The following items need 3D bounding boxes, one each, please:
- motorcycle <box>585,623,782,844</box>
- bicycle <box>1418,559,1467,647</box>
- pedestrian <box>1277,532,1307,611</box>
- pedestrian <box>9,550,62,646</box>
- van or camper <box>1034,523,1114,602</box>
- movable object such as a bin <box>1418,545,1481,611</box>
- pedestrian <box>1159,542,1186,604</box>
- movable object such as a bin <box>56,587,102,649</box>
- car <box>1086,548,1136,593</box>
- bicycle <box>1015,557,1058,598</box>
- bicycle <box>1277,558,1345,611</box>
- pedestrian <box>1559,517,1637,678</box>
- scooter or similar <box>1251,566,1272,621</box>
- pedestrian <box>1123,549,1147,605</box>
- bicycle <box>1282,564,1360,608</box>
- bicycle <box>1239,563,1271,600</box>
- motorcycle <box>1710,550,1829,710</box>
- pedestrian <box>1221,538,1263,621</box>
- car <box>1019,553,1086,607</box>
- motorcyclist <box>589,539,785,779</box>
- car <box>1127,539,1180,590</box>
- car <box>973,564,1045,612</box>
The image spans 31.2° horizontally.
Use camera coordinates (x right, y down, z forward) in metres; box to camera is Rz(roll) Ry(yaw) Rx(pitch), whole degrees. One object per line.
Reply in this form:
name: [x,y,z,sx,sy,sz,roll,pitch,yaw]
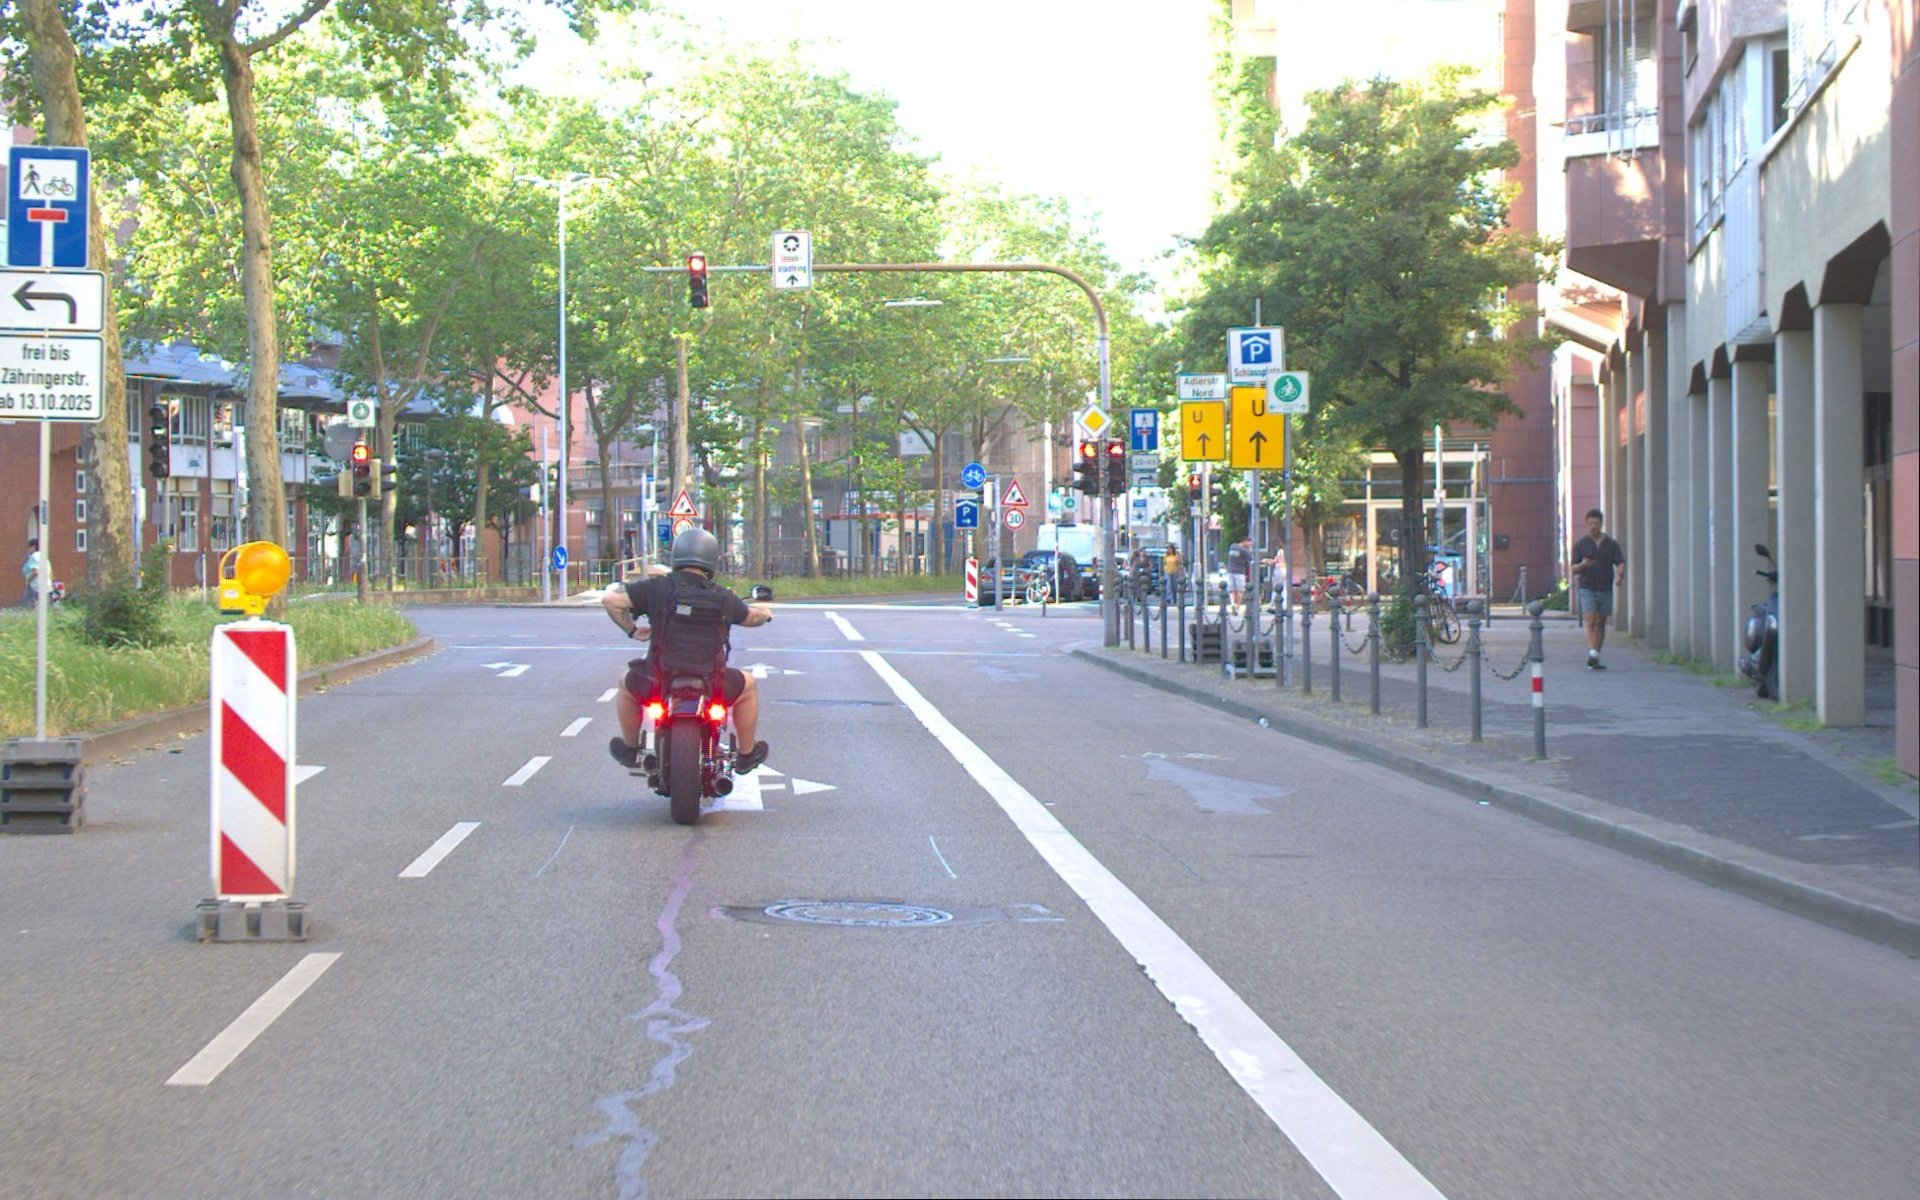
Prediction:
motorcycle: [-1.525,0.700,18.872,1.018,1.093,2.008,0,1,-5]
bicycle: [6.930,0.033,49.331,0.622,1.221,1.926,0,1,10]
pedestrian: [7.031,-0.607,72.795,0.459,1.667,0.680,0,1,-9]
pedestrian: [-14.425,-0.034,53.639,0.618,1.498,0.534,0,1,11]
van or camper: [3.769,-1.235,112.803,2.049,2.532,5.771,0,1,8]
movable object such as a bin: [11.102,-0.500,77.935,1.410,1.477,0.871,0,1,9]
pedestrian: [5.917,-0.763,95.733,0.700,1.727,0.767,0,1,1]
movable object such as a bin: [-13.751,0.274,53.669,0.510,0.950,0.539,0,1,11]
car: [5.547,-1.096,126.210,1.620,1.604,3.774,0,1,6]
bicycle: [1.987,-0.579,89.400,0.737,1.049,1.753,0,1,-11]
bicycle: [8.225,-0.362,80.608,1.567,1.223,0.577,0,1,4]
pedestrian: [6.971,-0.034,37.581,0.781,1.732,0.837,0,1,6]
scooter or similar: [6.395,-0.140,72.947,0.394,1.154,1.249,0,1,3]
pedestrian: [4.891,-0.645,95.895,0.644,1.573,0.748,0,1,1]
bicycle: [8.790,-0.347,83.761,1.749,1.049,0.738,0,1,25]
bicycle: [7.622,-0.493,88.851,0.737,0.936,1.752,0,1,2]
motorcycle: [7.164,0.245,30.501,0.488,1.368,2.091,0,1,-2]
pedestrian: [5.981,-0.431,72.947,0.785,1.757,0.610,0,1,-5]
car: [2.881,-0.641,106.274,1.620,1.614,4.484,0,1,7]
motorcyclist: [-1.503,0.313,18.934,1.011,1.258,0.774,2,1,-5]
car: [7.725,-1.410,137.139,1.836,2.007,4.387,0,1,7]
car: [1.393,-0.361,96.322,1.620,1.298,4.311,0,1,6]
